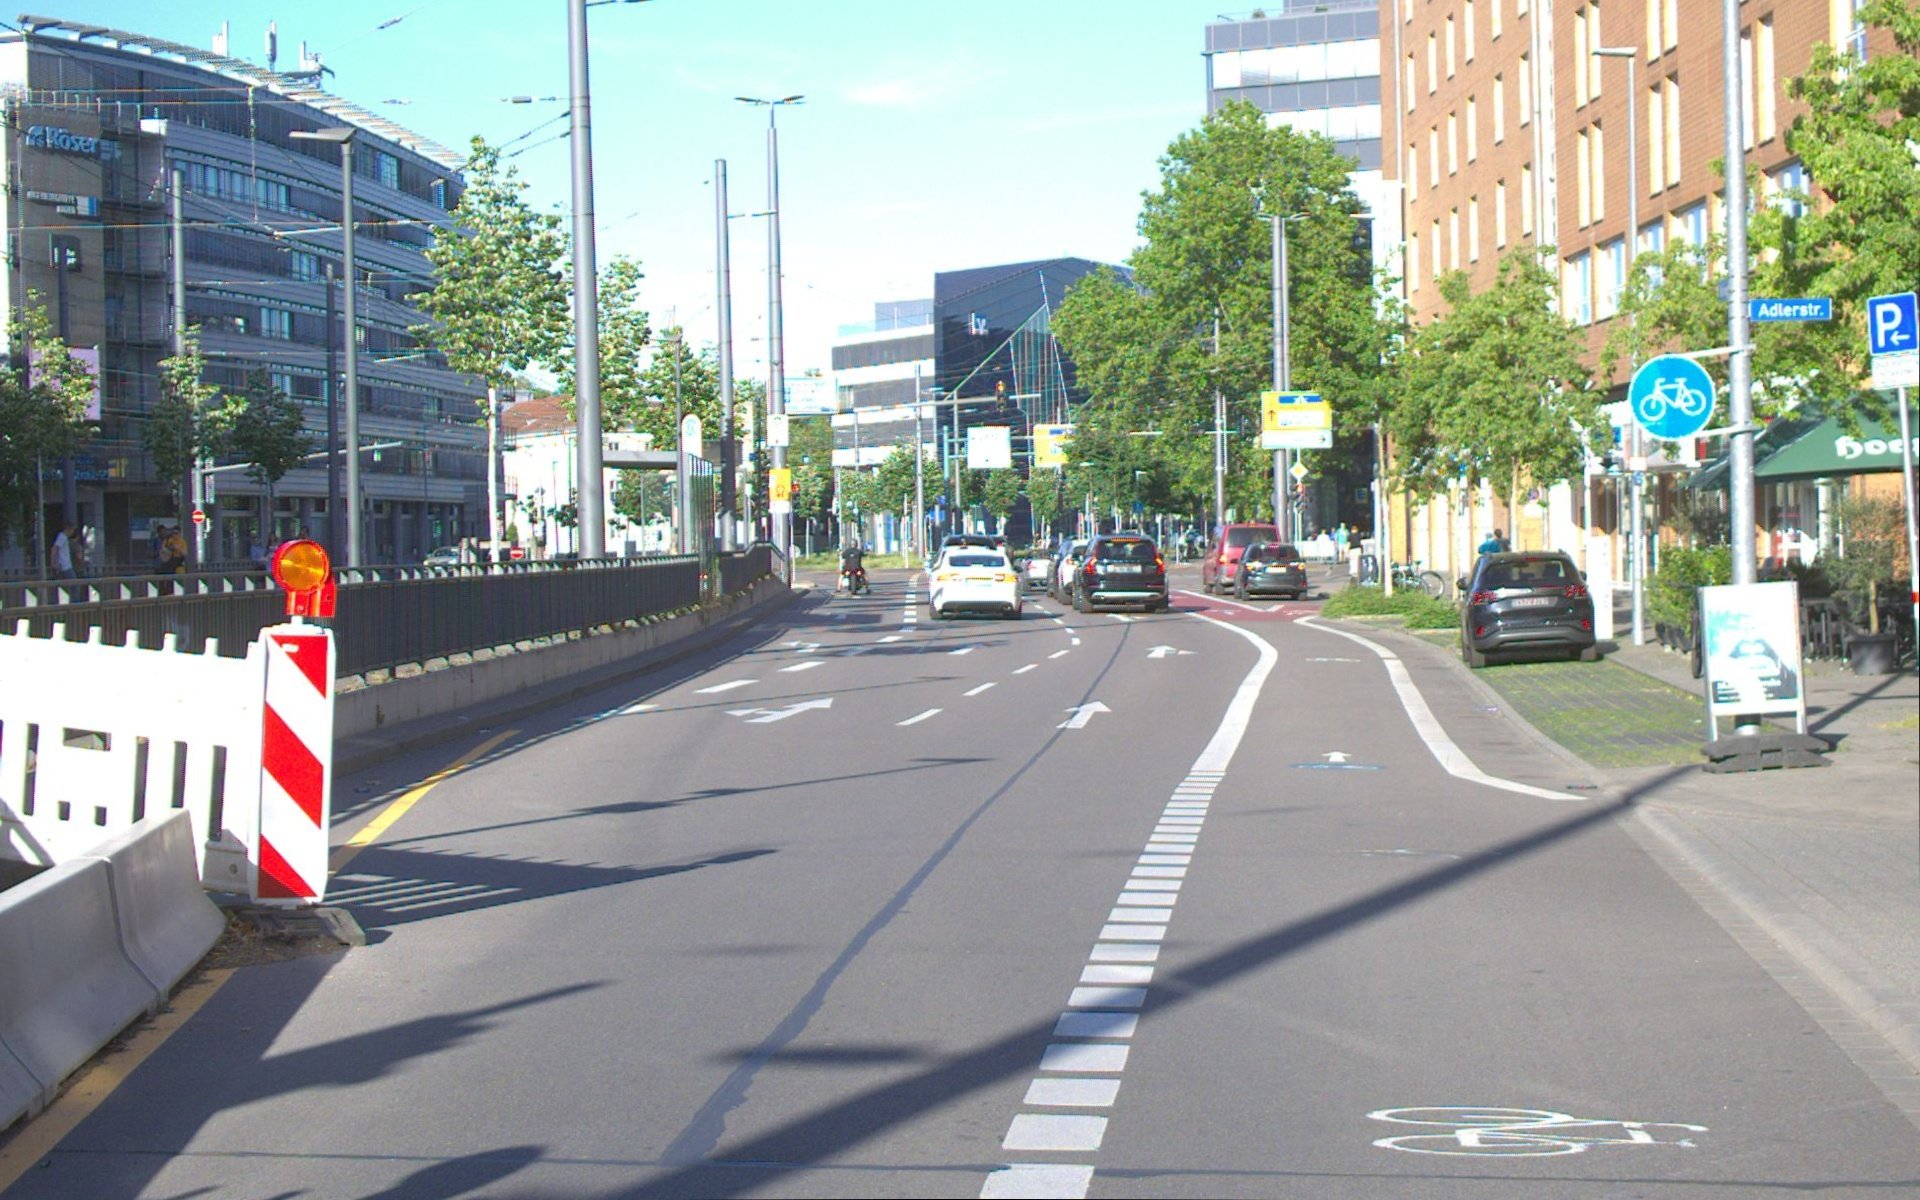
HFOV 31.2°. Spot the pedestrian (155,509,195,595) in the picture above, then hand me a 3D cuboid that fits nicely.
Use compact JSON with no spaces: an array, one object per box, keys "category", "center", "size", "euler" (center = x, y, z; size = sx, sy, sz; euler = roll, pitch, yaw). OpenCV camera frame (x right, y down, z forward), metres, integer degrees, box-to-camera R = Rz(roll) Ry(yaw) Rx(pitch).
[{"category":"pedestrian","center":[-15.562,-0.947,68.171],"size":[0.640,1.690,0.541],"euler":[1,1,0]}]

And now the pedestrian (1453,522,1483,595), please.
[{"category":"pedestrian","center":[12.738,-1.047,86.247],"size":[0.606,1.815,0.748],"euler":[-1,1,-1]}]

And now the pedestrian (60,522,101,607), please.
[{"category":"pedestrian","center":[-16.722,-0.681,65.374],"size":[0.622,1.606,0.616],"euler":[0,1,0]}]

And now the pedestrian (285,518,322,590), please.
[{"category":"pedestrian","center":[-15.290,-1.075,80.084],"size":[0.640,1.637,0.945],"euler":[1,1,0]}]

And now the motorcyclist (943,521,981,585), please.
[{"category":"motorcyclist","center":[0.038,-1.111,80.559],"size":[0.837,1.470,1.236],"euler":[-1,1,-2]}]

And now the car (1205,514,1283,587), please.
[{"category":"car","center":[7.927,-1.404,96.132],"size":[1.860,1.954,4.000],"euler":[-1,1,1]}]

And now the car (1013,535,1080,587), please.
[{"category":"car","center":[2.551,-1.184,102.225],"size":[1.851,1.492,4.379],"euler":[0,1,-1]}]

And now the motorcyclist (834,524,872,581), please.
[{"category":"motorcyclist","center":[-3.036,-1.348,97.511],"size":[1.019,1.598,1.148],"euler":[1,1,0]}]

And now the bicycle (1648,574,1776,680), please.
[{"category":"bicycle","center":[8.401,0.297,38.485],"size":[0.765,1.077,1.998],"euler":[-6,0,-4]}]

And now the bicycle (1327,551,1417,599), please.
[{"category":"bicycle","center":[9.330,-0.574,77.909],"size":[1.946,1.019,0.501],"euler":[-2,0,17]}]

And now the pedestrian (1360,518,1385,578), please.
[{"category":"pedestrian","center":[12.532,-1.570,104.482],"size":[0.606,1.815,0.748],"euler":[-1,1,-1]}]

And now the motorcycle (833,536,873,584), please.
[{"category":"motorcycle","center":[-3.033,-1.145,97.493],"size":[1.019,1.307,2.915],"euler":[1,1,0]}]

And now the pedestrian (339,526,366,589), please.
[{"category":"pedestrian","center":[-17.663,-1.235,99.984],"size":[0.614,1.811,0.897],"euler":[0,1,0]}]

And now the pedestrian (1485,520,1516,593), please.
[{"category":"pedestrian","center":[13.568,-1.092,86.301],"size":[0.606,1.815,0.748],"euler":[-1,1,-1]}]

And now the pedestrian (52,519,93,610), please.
[{"category":"pedestrian","center":[-16.713,-0.669,64.750],"size":[0.622,1.709,0.616],"euler":[0,1,0]}]

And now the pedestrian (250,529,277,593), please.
[{"category":"pedestrian","center":[-17.675,-0.988,87.201],"size":[0.563,1.603,0.616],"euler":[0,1,0]}]

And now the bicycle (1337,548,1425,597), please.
[{"category":"bicycle","center":[9.697,-0.639,79.133],"size":[1.946,1.071,0.554],"euler":[-2,0,11]}]

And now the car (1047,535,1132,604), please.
[{"category":"car","center":[3.161,-0.770,84.785],"size":[1.851,1.634,4.379],"euler":[-1,1,-1]}]

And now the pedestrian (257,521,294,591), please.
[{"category":"pedestrian","center":[-15.946,-1.034,80.086],"size":[0.640,1.602,0.945],"euler":[1,1,0]}]

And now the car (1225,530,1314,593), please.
[{"category":"car","center":[8.043,-1.023,89.578],"size":[1.846,1.555,4.633],"euler":[1,1,0]}]

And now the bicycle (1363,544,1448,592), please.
[{"category":"bicycle","center":[10.625,-0.765,82.038],"size":[1.946,1.071,0.625],"euler":[-2,0,12]}]

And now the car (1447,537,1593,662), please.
[{"category":"car","center":[7.837,-0.050,48.413],"size":[1.721,1.631,4.230],"euler":[-2,1,6]}]

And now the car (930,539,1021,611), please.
[{"category":"car","center":[0.292,-0.553,71.827],"size":[1.780,1.409,4.819],"euler":[1,1,-1]}]

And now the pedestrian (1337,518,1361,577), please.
[{"category":"pedestrian","center":[12.085,-1.624,106.757],"size":[0.606,1.815,0.748],"euler":[-1,1,-1]}]

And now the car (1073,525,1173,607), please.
[{"category":"car","center":[3.622,-0.788,77.269],"size":[1.975,1.753,4.633],"euler":[1,1,0]}]

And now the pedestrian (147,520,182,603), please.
[{"category":"pedestrian","center":[-16.603,-0.804,71.733],"size":[0.581,1.732,0.616],"euler":[0,1,0]}]
